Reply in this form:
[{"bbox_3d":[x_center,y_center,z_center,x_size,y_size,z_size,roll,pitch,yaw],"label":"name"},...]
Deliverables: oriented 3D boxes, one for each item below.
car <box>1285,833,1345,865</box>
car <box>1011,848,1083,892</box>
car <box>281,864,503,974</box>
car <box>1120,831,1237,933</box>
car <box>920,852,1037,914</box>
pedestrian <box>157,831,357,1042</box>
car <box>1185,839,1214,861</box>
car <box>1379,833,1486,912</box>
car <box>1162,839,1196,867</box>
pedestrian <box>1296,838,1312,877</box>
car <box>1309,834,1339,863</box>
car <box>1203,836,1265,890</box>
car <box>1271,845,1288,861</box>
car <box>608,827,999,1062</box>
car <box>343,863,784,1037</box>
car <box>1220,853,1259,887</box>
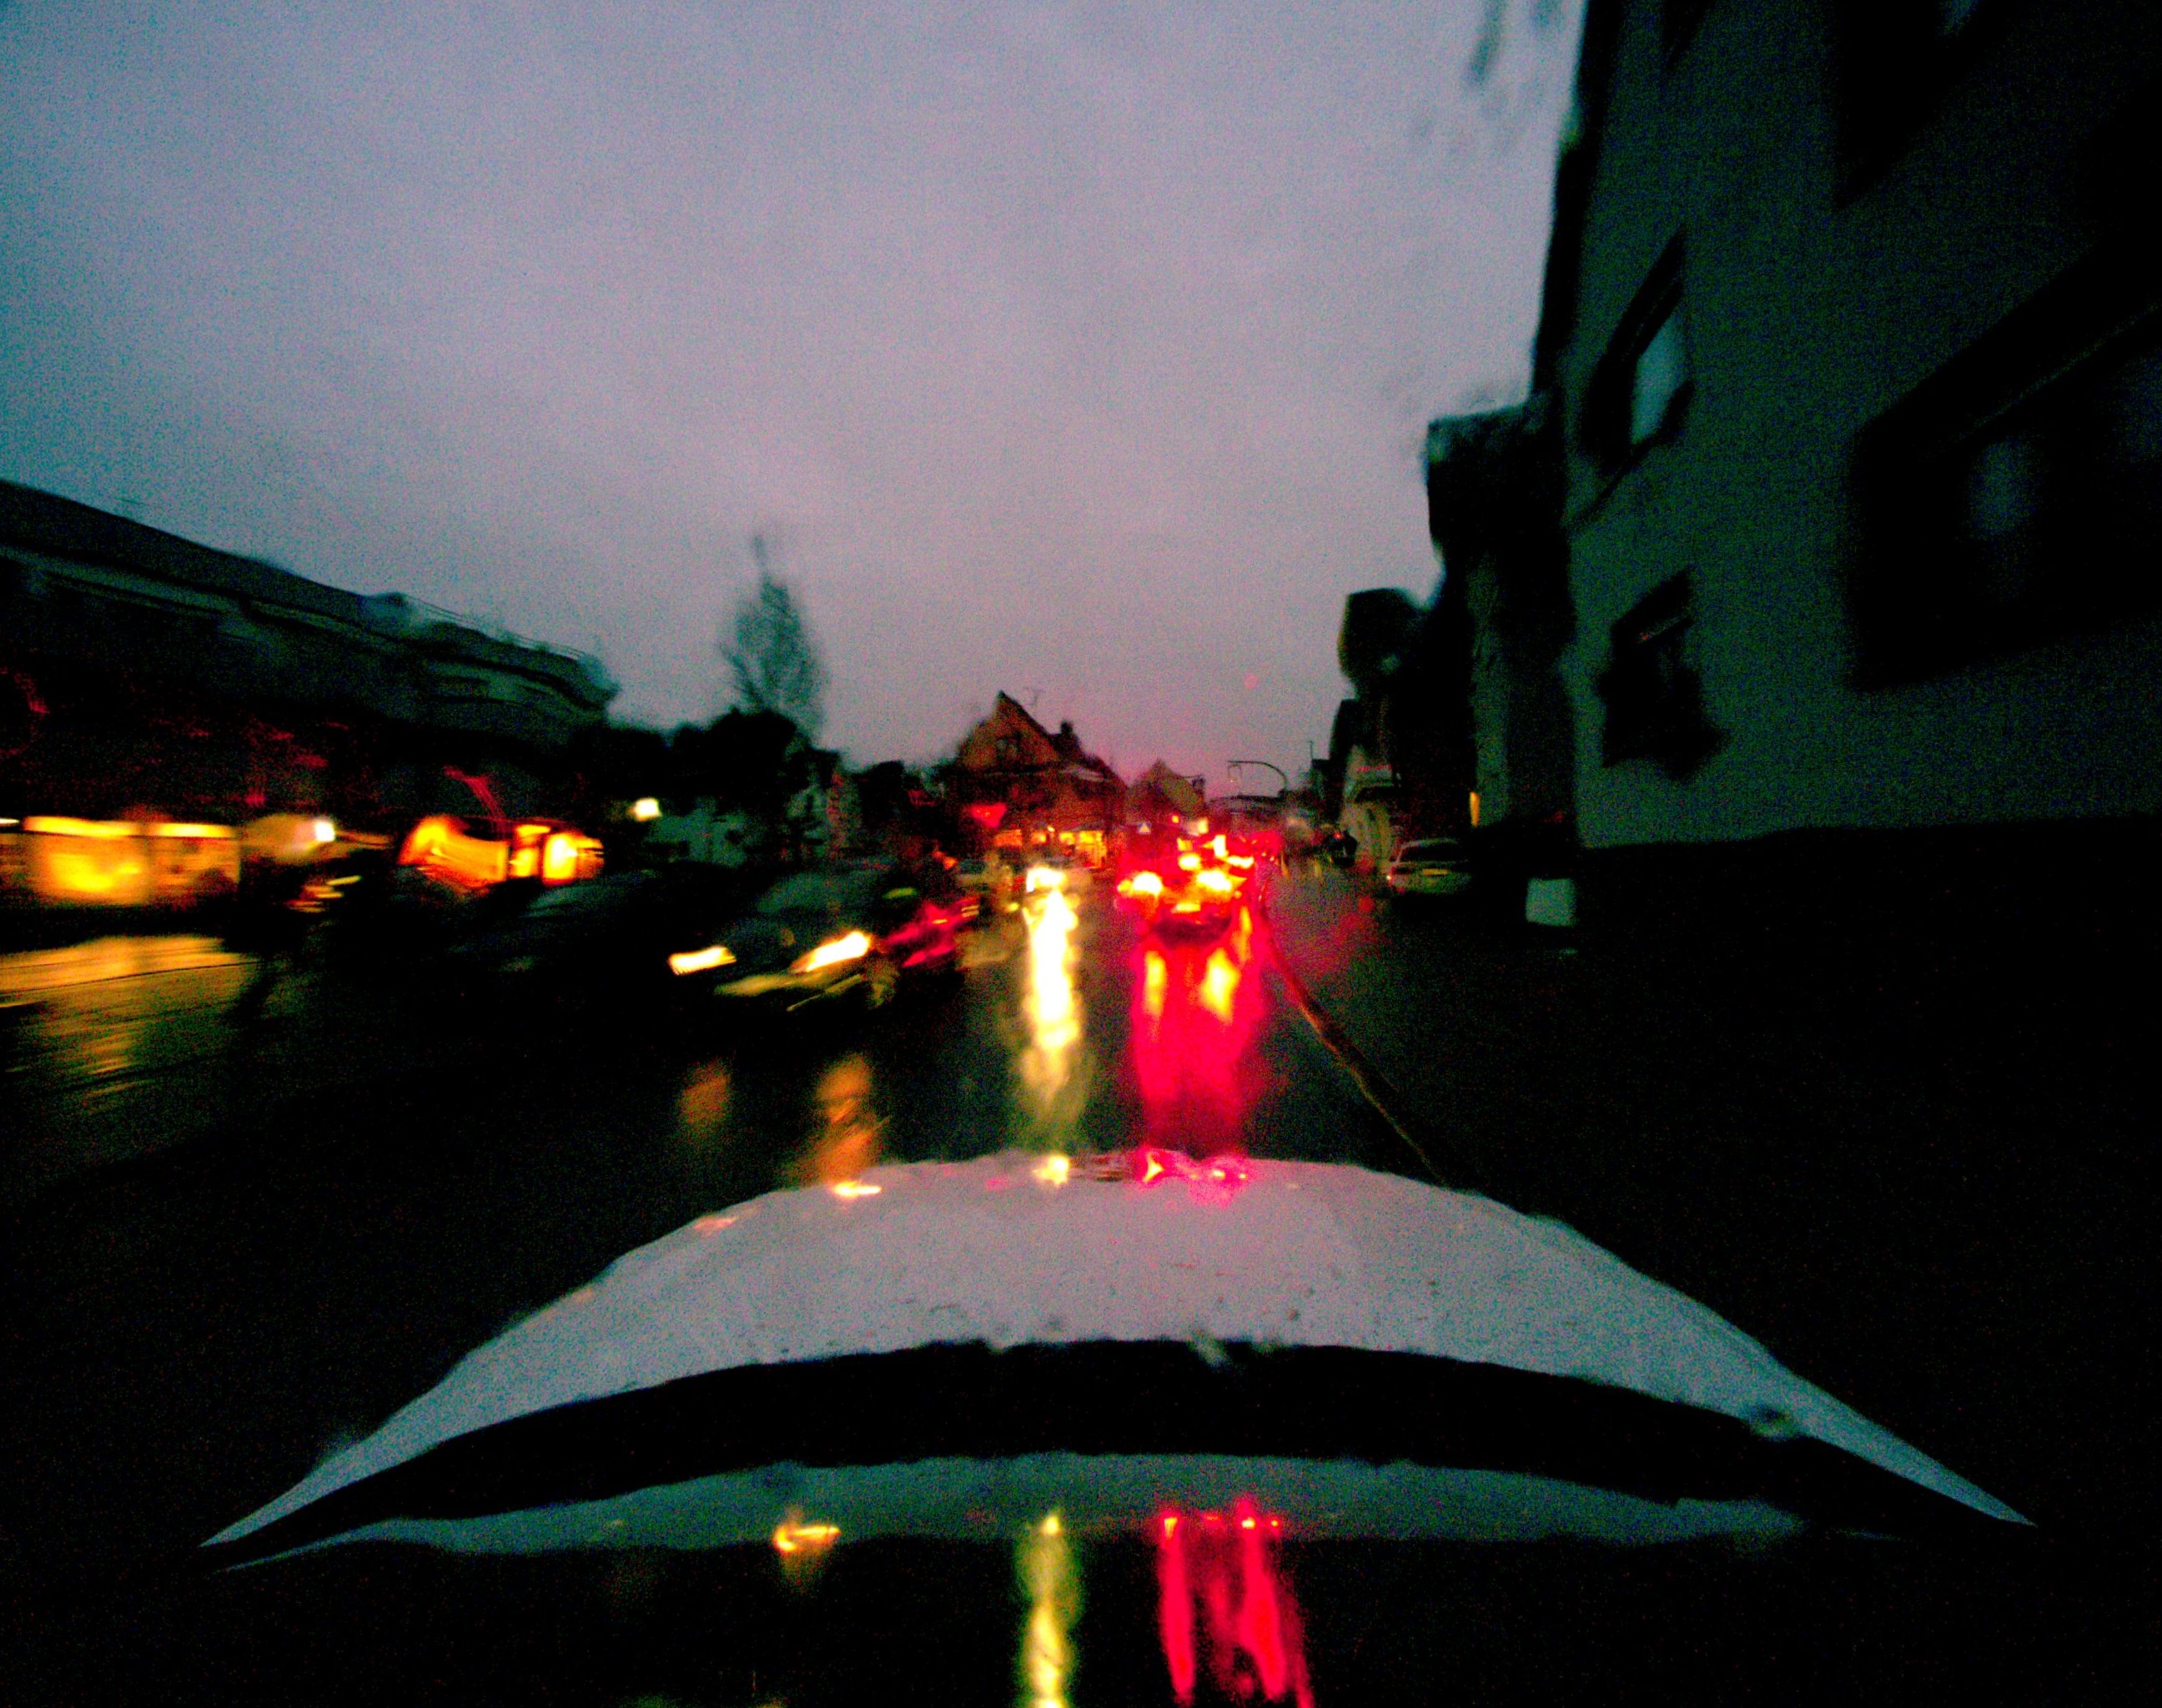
[{"bbox_3d":[15.077,-0.309,52.524,3.668,2.014,1.696,-1,-1,16],"label":"car"},{"bbox_3d":[-1.195,0.551,30.420,1.658,1.516,4.014,0,0,13],"label":"car"},{"bbox_3d":[-11.280,1.010,13.262,4.035,1.477,1.751,-3,0,35],"label":"car"},{"bbox_3d":[2.197,0.484,17.061,1.980,1.795,4.663,-2,1,12],"label":"car"},{"bbox_3d":[-2.707,0.724,22.590,1.736,1.516,4.358,0,0,14],"label":"car"},{"bbox_3d":[-7.841,0.738,7.798,0.748,1.866,1.064,-2,0,13],"label":"pedestrian"},{"bbox_3d":[10.085,-0.351,69.141,1.979,1.752,4.378,-2,0,14],"label":"car"},{"bbox_3d":[7.824,0.335,18.304,1.867,1.466,4.567,-4,0,22],"label":"car"},{"bbox_3d":[7.568,-0.063,62.573,1.979,2.013,4.379,-2,0,15],"label":"car"},{"bbox_3d":[10.855,0.175,39.652,0.658,1.888,0.828,-1,-1,19],"label":"pedestrian"},{"bbox_3d":[18.155,-0.395,60.940,1.631,2.013,4.012,-3,0,11],"label":"car"},{"bbox_3d":[5.176,0.292,27.203,1.785,1.662,4.015,-1,0,13],"label":"car"},{"bbox_3d":[19.633,-0.123,80.651,1.523,1.245,3.660,-7,0,13],"label":"car"},{"bbox_3d":[-2.587,0.749,9.162,2.129,1.860,4.753,-4,0,8],"label":"car"},{"bbox_3d":[-5.537,0.886,9.579,1.735,1.472,4.472,-1,0,11],"label":"car"},{"bbox_3d":[7.385,0.713,38.163,1.639,1.442,3.877,-2,0,9],"label":"car"}]
